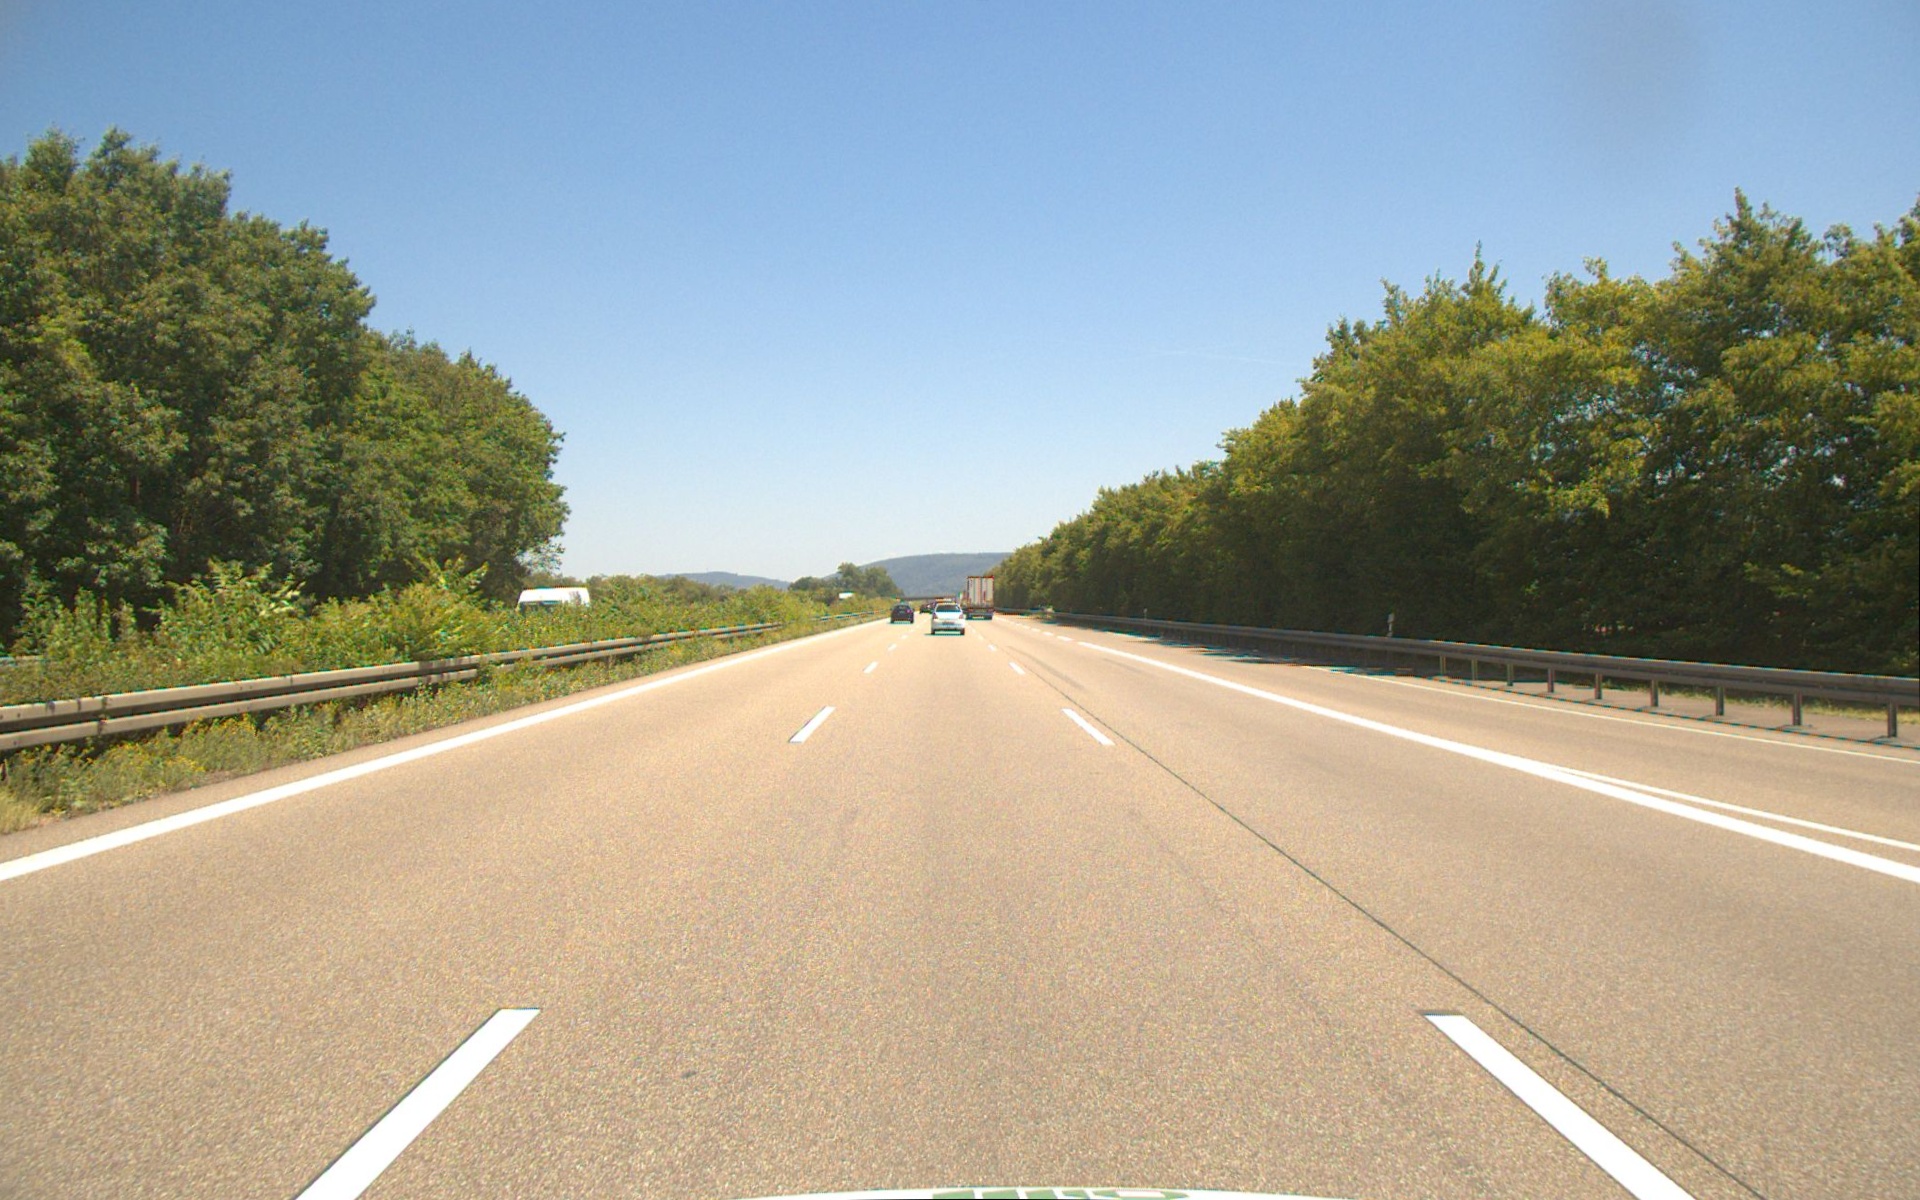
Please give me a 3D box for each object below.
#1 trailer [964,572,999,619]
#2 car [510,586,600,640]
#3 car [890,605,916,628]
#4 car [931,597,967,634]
[{"bbox_3d":[2.240,-0.364,164.237,3.151,4.421,13.631,1,0,2],"label":"trailer"},{"bbox_3d":[-16.640,0.541,68.328,2.102,2.090,6.632,1,0,-1],"label":"car"},{"bbox_3d":[-4.329,1.243,126.637,1.953,1.742,3.999,1,0,-1],"label":"car"},{"bbox_3d":[-0.588,0.751,81.932,1.697,1.713,3.999,-1,0,-1],"label":"car"}]
